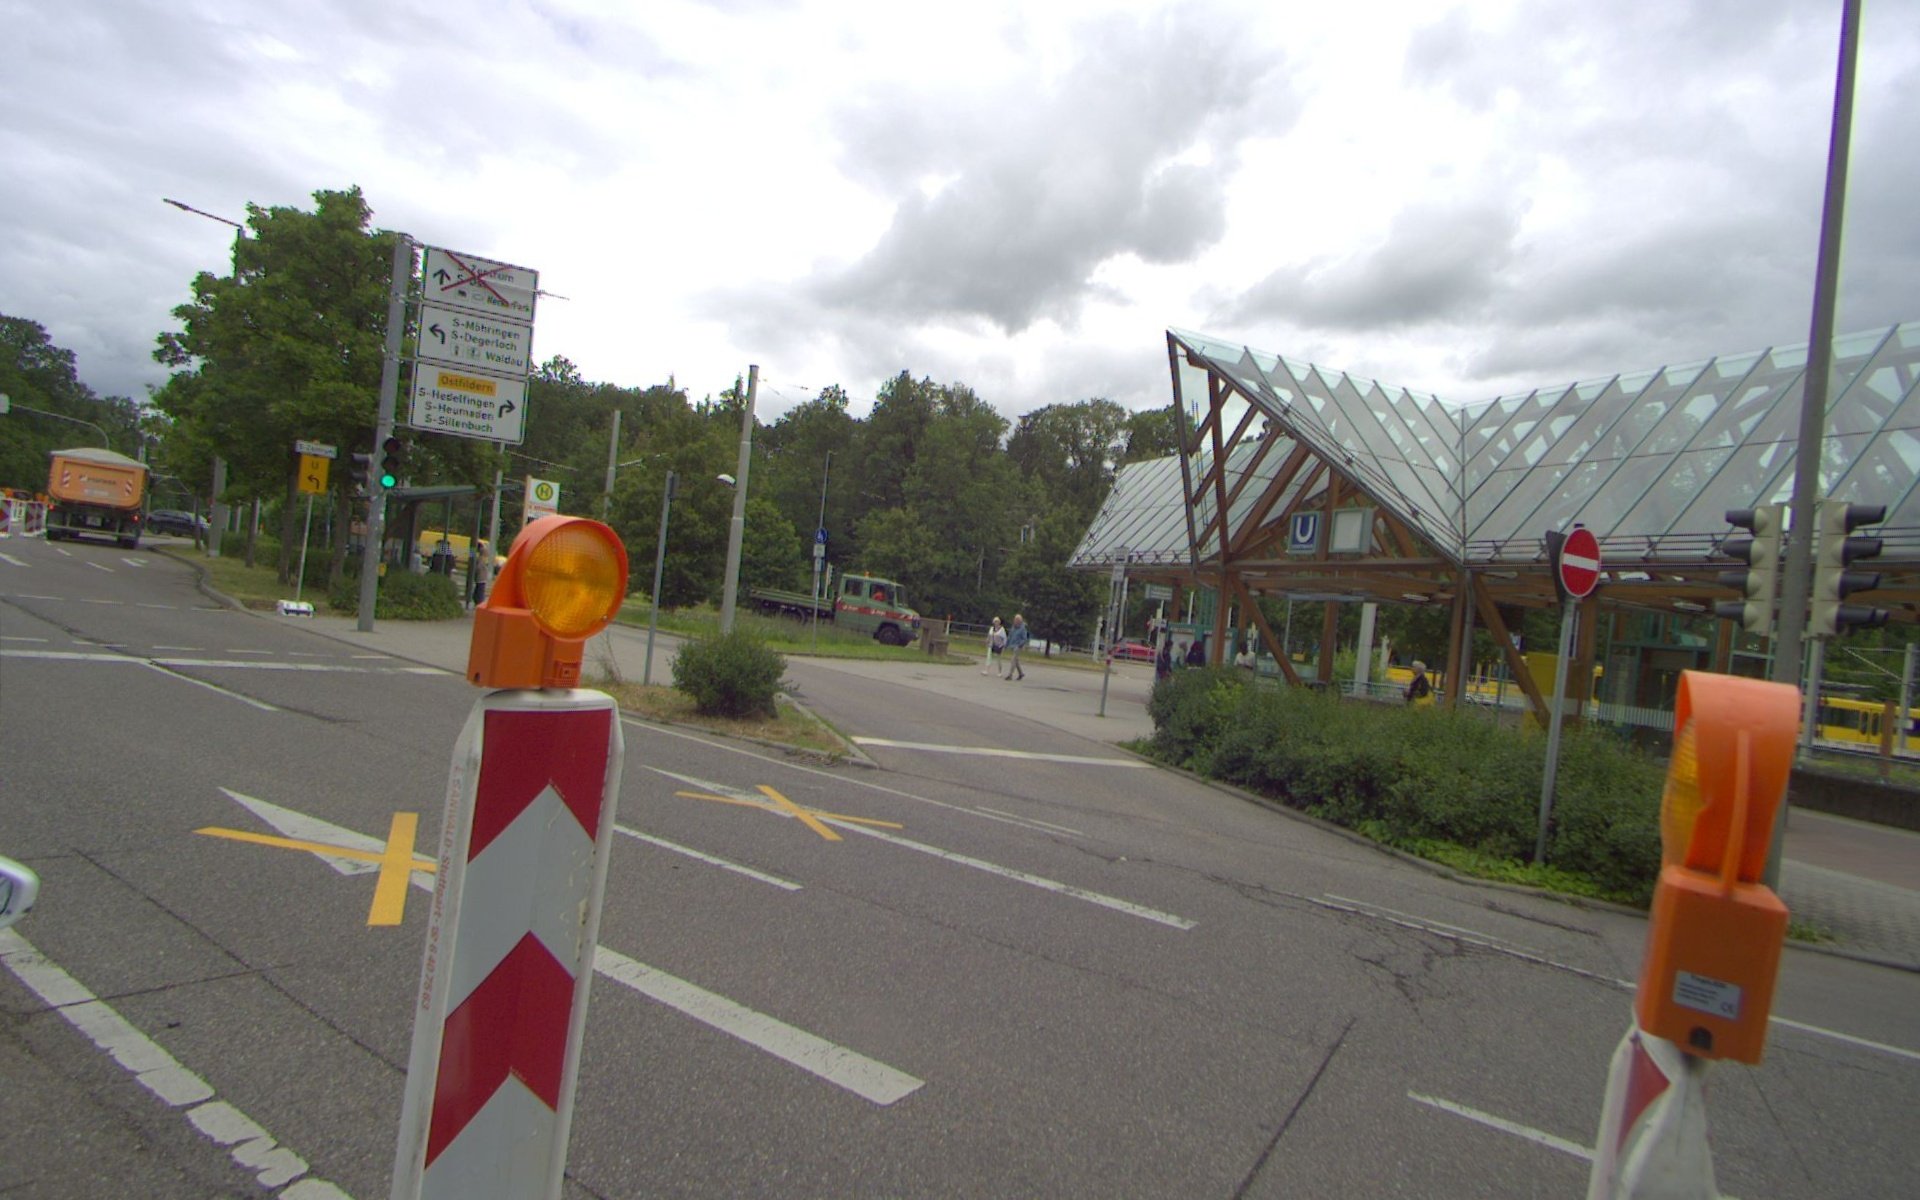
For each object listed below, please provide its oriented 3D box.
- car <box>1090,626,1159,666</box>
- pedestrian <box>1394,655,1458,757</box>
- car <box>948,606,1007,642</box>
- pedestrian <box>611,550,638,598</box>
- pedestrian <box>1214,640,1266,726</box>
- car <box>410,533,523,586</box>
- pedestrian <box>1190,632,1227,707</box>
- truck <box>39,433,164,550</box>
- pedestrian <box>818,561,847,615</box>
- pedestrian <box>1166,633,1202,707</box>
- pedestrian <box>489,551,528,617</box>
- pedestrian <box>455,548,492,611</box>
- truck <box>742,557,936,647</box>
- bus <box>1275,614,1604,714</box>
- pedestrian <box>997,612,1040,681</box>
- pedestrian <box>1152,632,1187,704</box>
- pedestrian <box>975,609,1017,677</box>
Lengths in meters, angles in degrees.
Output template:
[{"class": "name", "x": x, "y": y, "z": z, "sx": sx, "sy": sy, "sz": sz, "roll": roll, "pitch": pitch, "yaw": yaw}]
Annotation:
[{"class": "car", "x": 10.545, "y": 2.944, "z": 64.698, "sx": 3.927, "sy": 2.037, "sz": 2.001, "roll": 7, "pitch": -2, "yaw": -1}, {"class": "pedestrian", "x": 8.695, "y": 1.971, "z": 18.788, "sx": 0.645, "sy": 1.778, "sz": 0.668, "roll": 7, "pitch": -1, "yaw": -9}, {"class": "car", "x": 1.228, "y": 1.719, "z": 71.247, "sx": 3.927, "sy": 2.037, "sz": 2.001, "roll": 7, "pitch": -2, "yaw": -1}, {"class": "pedestrian", "x": -17.210, "y": -1.339, "z": 51.538, "sx": 0.846, "sy": 2.321, "sz": 0.617, "roll": 7, "pitch": -1, "yaw": 17}, {"class": "pedestrian", "x": 6.132, "y": 1.815, "z": 22.041, "sx": 0.664, "sy": 1.778, "sz": 0.648, "roll": 8, "pitch": -1, "yaw": -44}, {"class": "car", "x": -31.953, "y": -2.618, "z": 65.216, "sx": 6.036, "sy": 2.523, "sz": 2.001, "roll": 7, "pitch": -1, "yaw": -1}, {"class": "pedestrian", "x": 6.184, "y": 1.742, "z": 25.022, "sx": 0.589, "sy": 1.778, "sz": 0.668, "roll": 7, "pitch": -1, "yaw": 22}, {"class": "truck", "x": -31.912, "y": -3.975, "z": 37.696, "sx": 2.844, "sy": 3.558, "sz": 8.161, "roll": 7, "pitch": 1, "yaw": -38}, {"class": "pedestrian", "x": -7.799, "y": -0.732, "z": 61.607, "sx": 1.093, "sy": 3.080, "sz": 1.027, "roll": 7, "pitch": -1, "yaw": 17}, {"class": "pedestrian", "x": 5.628, "y": 1.758, "z": 25.257, "sx": 0.589, "sy": 1.778, "sz": 0.668, "roll": 7, "pitch": -1, "yaw": 22}, {"class": "pedestrian", "x": -11.046, "y": -0.380, "z": 24.626, "sx": 0.471, "sy": 1.534, "sz": 0.522, "roll": 7, "pitch": -1, "yaw": 28}, {"class": "pedestrian", "x": -12.348, "y": -0.516, "z": 25.538, "sx": 0.471, "sy": 1.534, "sz": 0.522, "roll": 7, "pitch": -1, "yaw": 28}, {"class": "truck", "x": -4.361, "y": 0.103, "z": 36.870, "sx": 6.419, "sy": 2.379, "sz": 2.410, "roll": 7, "pitch": -2, "yaw": 10}, {"class": "bus", "x": 28.810, "y": 3.859, "z": 60.875, "sx": 18.248, "sy": 3.523, "sz": 3.978, "roll": 8, "pitch": -2, "yaw": -5}, {"class": "pedestrian", "x": 1.594, "y": 1.266, "z": 27.446, "sx": 0.727, "sy": 1.778, "sz": 0.665, "roll": 6, "pitch": -1, "yaw": 45}, {"class": "pedestrian", "x": 5.450, "y": 1.758, "z": 26.207, "sx": 0.655, "sy": 1.778, "sz": 0.562, "roll": 7, "pitch": -1, "yaw": 9}, {"class": "pedestrian", "x": 1.001, "y": 1.197, "z": 27.894, "sx": 0.664, "sy": 1.778, "sz": 0.728, "roll": 8, "pitch": -1, "yaw": -44}]
